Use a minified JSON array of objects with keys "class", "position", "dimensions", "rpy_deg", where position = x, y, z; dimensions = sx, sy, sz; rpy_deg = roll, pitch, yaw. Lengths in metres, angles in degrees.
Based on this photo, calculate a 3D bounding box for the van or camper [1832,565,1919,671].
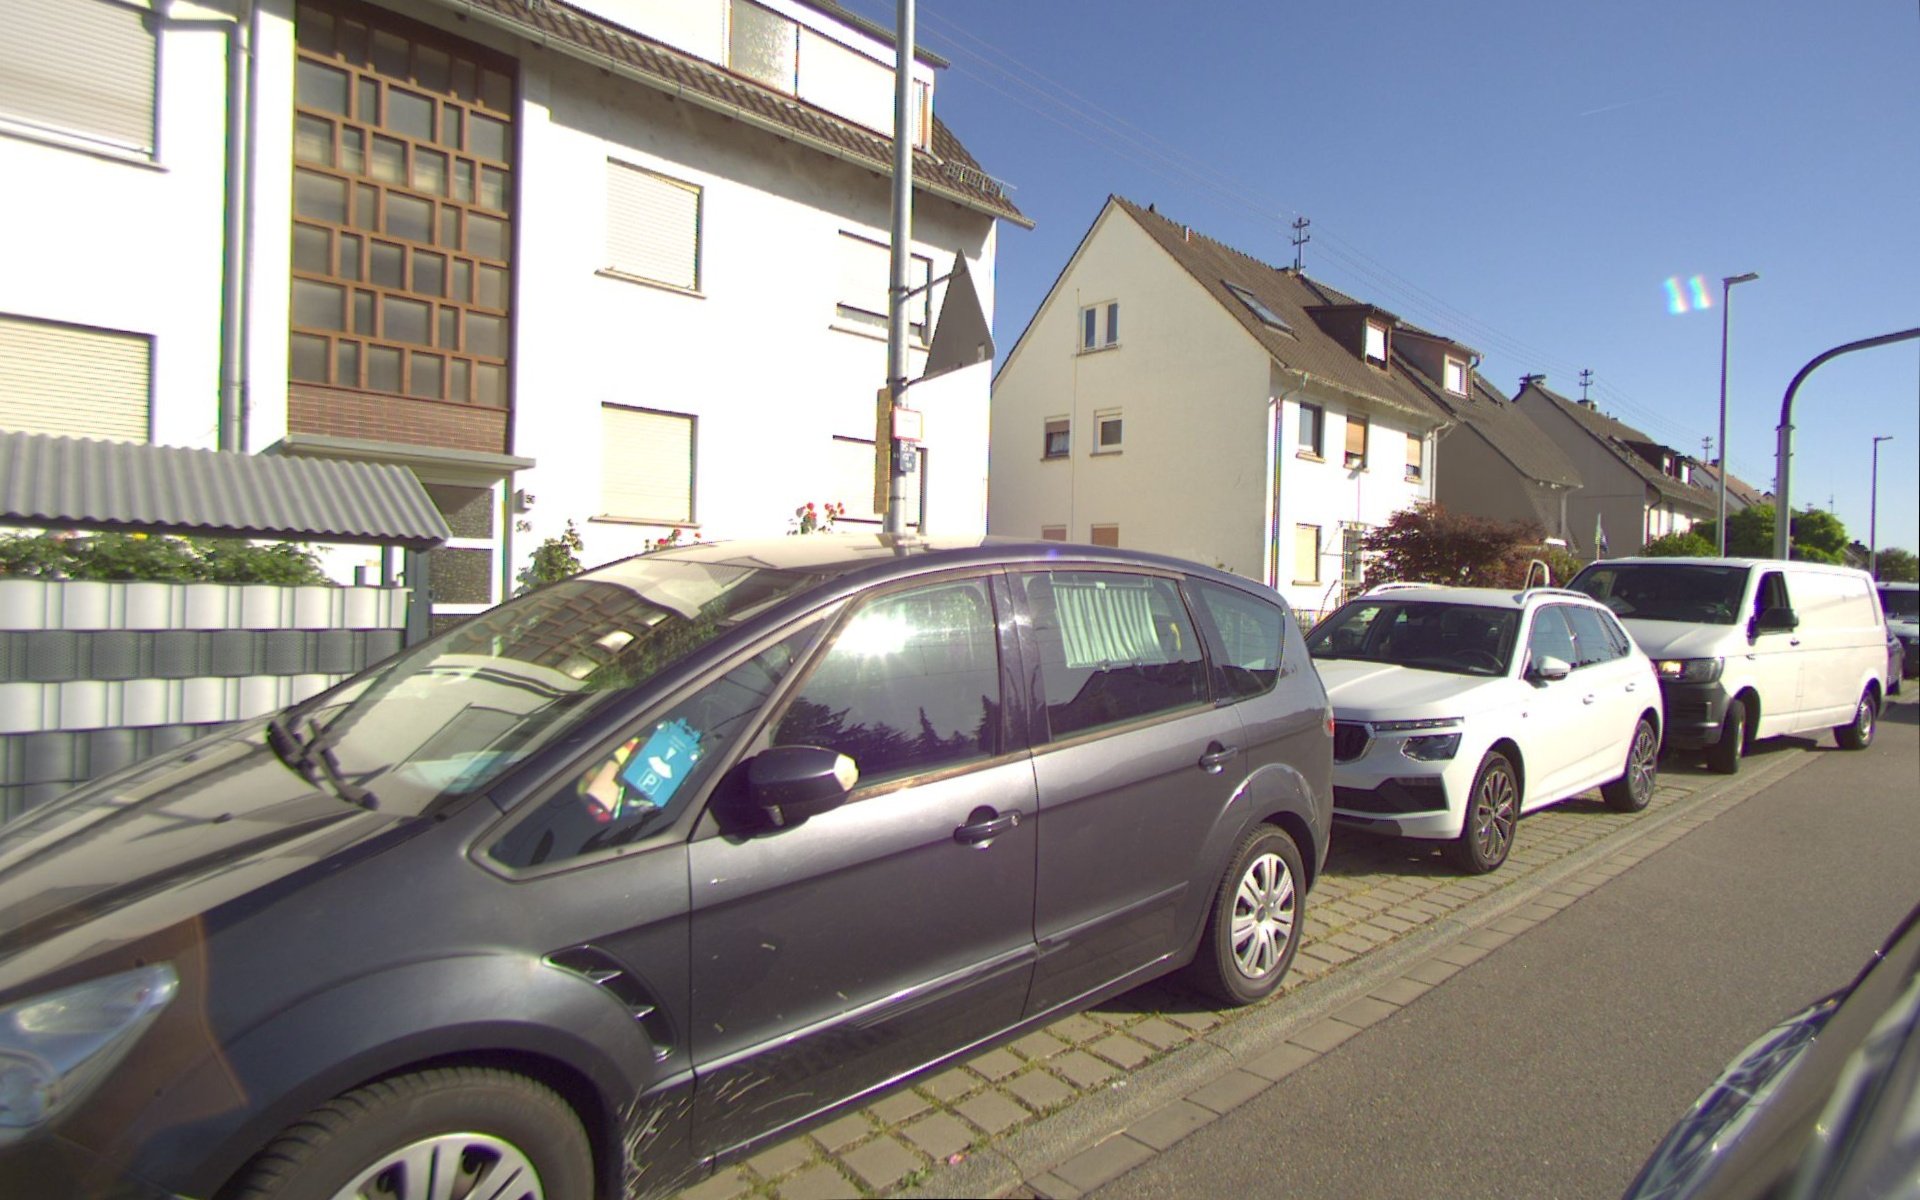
[{"class":"van or camper","position":[23.146,0.389,24.684],"dimensions":[6.196,2.298,1.997],"rpy_deg":[0,3,-42]}]

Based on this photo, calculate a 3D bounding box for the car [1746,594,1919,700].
[{"class":"car","position":[15.403,0.703,17.651],"dimensions":[5.066,1.512,1.752],"rpy_deg":[0,3,-42]}]

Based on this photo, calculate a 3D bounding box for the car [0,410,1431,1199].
[{"class":"car","position":[-0.390,0.535,3.332],"dimensions":[4.778,1.648,1.794],"rpy_deg":[1,3,-43]}]

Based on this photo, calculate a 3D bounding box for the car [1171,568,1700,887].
[{"class":"car","position":[3.384,0.592,6.829],"dimensions":[4.086,1.511,1.660],"rpy_deg":[0,2,-40]}]

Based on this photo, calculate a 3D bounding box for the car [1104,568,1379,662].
[{"class":"car","position":[5.150,0.189,19.070],"dimensions":[1.875,1.495,4.717],"rpy_deg":[-1,2,-43]}]

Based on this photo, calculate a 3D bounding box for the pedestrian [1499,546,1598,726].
[{"class":"pedestrian","position":[6.621,0.383,11.391],"dimensions":[0.744,1.936,0.701],"rpy_deg":[0,0,-33]}]

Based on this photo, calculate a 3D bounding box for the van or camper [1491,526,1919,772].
[{"class":"van or camper","position":[7.862,0.389,10.477],"dimensions":[5.194,1.981,2.035],"rpy_deg":[1,1,-36]}]
